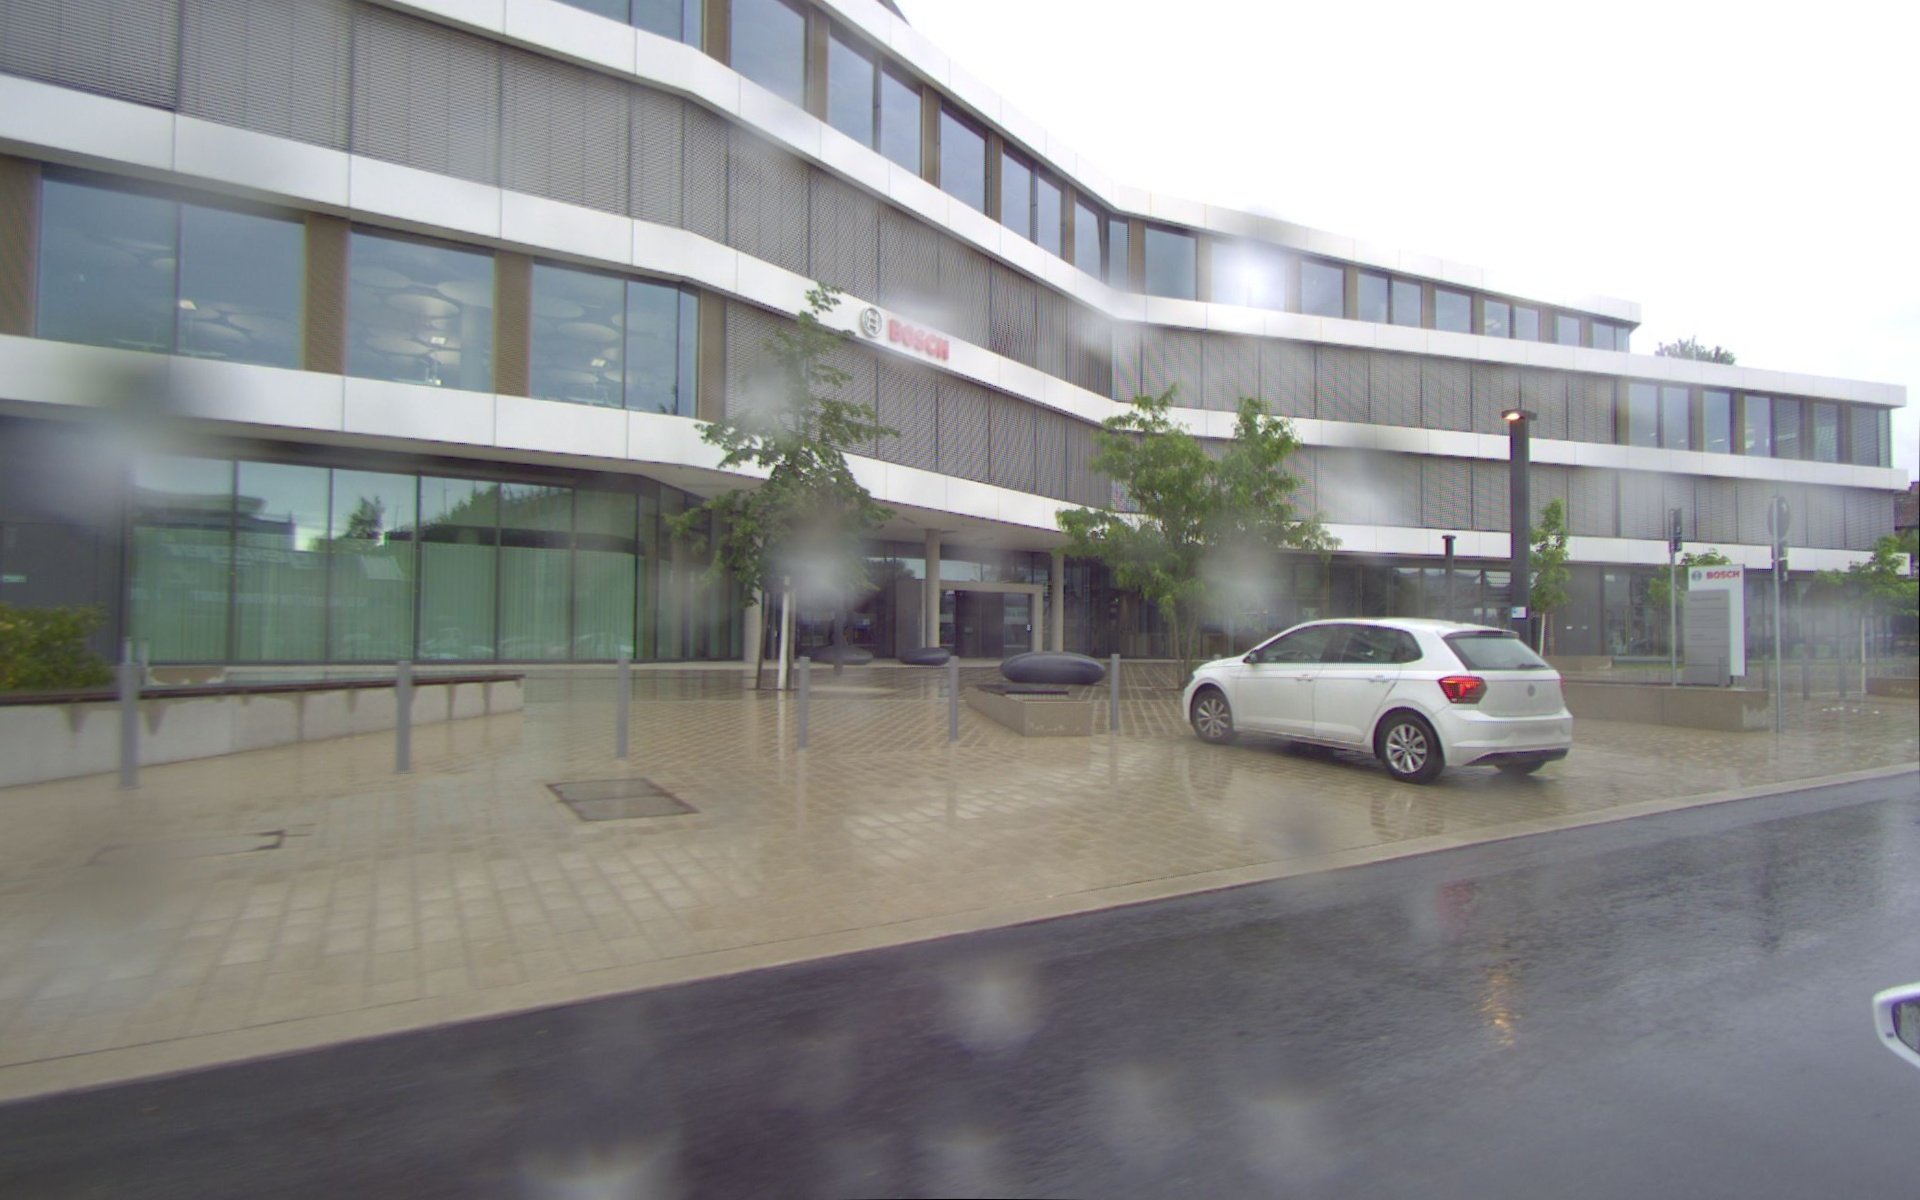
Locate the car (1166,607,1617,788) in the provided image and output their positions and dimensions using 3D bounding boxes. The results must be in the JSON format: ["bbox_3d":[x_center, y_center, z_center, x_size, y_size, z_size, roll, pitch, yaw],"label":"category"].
[{"bbox_3d":[4.088,0.853,10.187,1.875,1.442,3.912,1,-2,-29],"label":"car"}]

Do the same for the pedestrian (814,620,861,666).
[{"bbox_3d":[-3.745,1.298,30.668,0.883,1.332,1.059,4,1,33],"label":"pedestrian"}]
